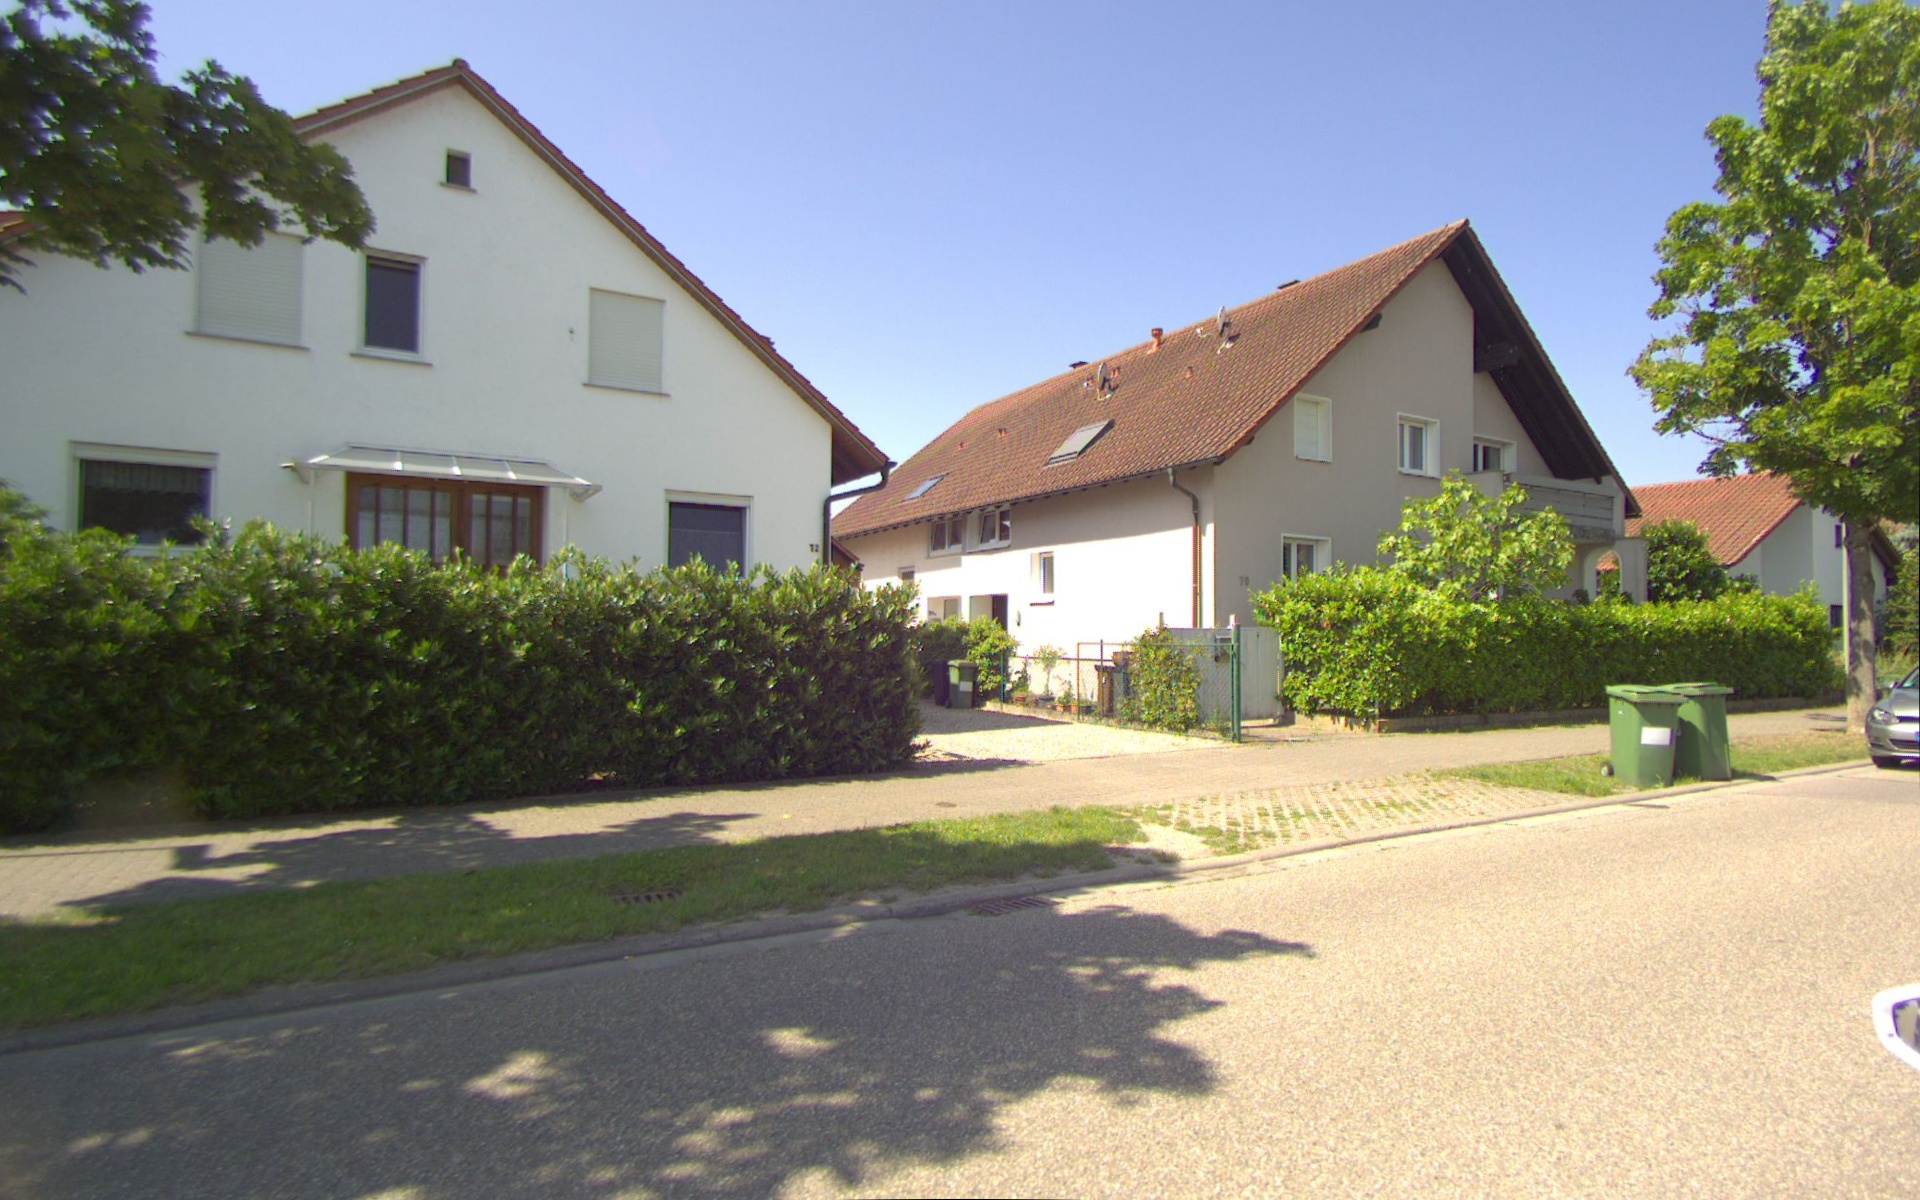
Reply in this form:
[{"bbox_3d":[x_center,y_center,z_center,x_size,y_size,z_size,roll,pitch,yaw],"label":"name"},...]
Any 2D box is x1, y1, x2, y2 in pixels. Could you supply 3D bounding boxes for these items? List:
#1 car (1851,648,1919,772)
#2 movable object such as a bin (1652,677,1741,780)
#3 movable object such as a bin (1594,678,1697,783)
[{"bbox_3d":[13.055,1.322,12.673,4.036,1.442,1.638,2,-5,-33],"label":"car"},{"bbox_3d":[8.336,1.437,11.381,0.589,1.093,0.575,1,-2,-17],"label":"movable object such as a bin"},{"bbox_3d":[7.613,1.433,11.188,0.627,1.093,0.715,1,-2,-5],"label":"movable object such as a bin"}]
